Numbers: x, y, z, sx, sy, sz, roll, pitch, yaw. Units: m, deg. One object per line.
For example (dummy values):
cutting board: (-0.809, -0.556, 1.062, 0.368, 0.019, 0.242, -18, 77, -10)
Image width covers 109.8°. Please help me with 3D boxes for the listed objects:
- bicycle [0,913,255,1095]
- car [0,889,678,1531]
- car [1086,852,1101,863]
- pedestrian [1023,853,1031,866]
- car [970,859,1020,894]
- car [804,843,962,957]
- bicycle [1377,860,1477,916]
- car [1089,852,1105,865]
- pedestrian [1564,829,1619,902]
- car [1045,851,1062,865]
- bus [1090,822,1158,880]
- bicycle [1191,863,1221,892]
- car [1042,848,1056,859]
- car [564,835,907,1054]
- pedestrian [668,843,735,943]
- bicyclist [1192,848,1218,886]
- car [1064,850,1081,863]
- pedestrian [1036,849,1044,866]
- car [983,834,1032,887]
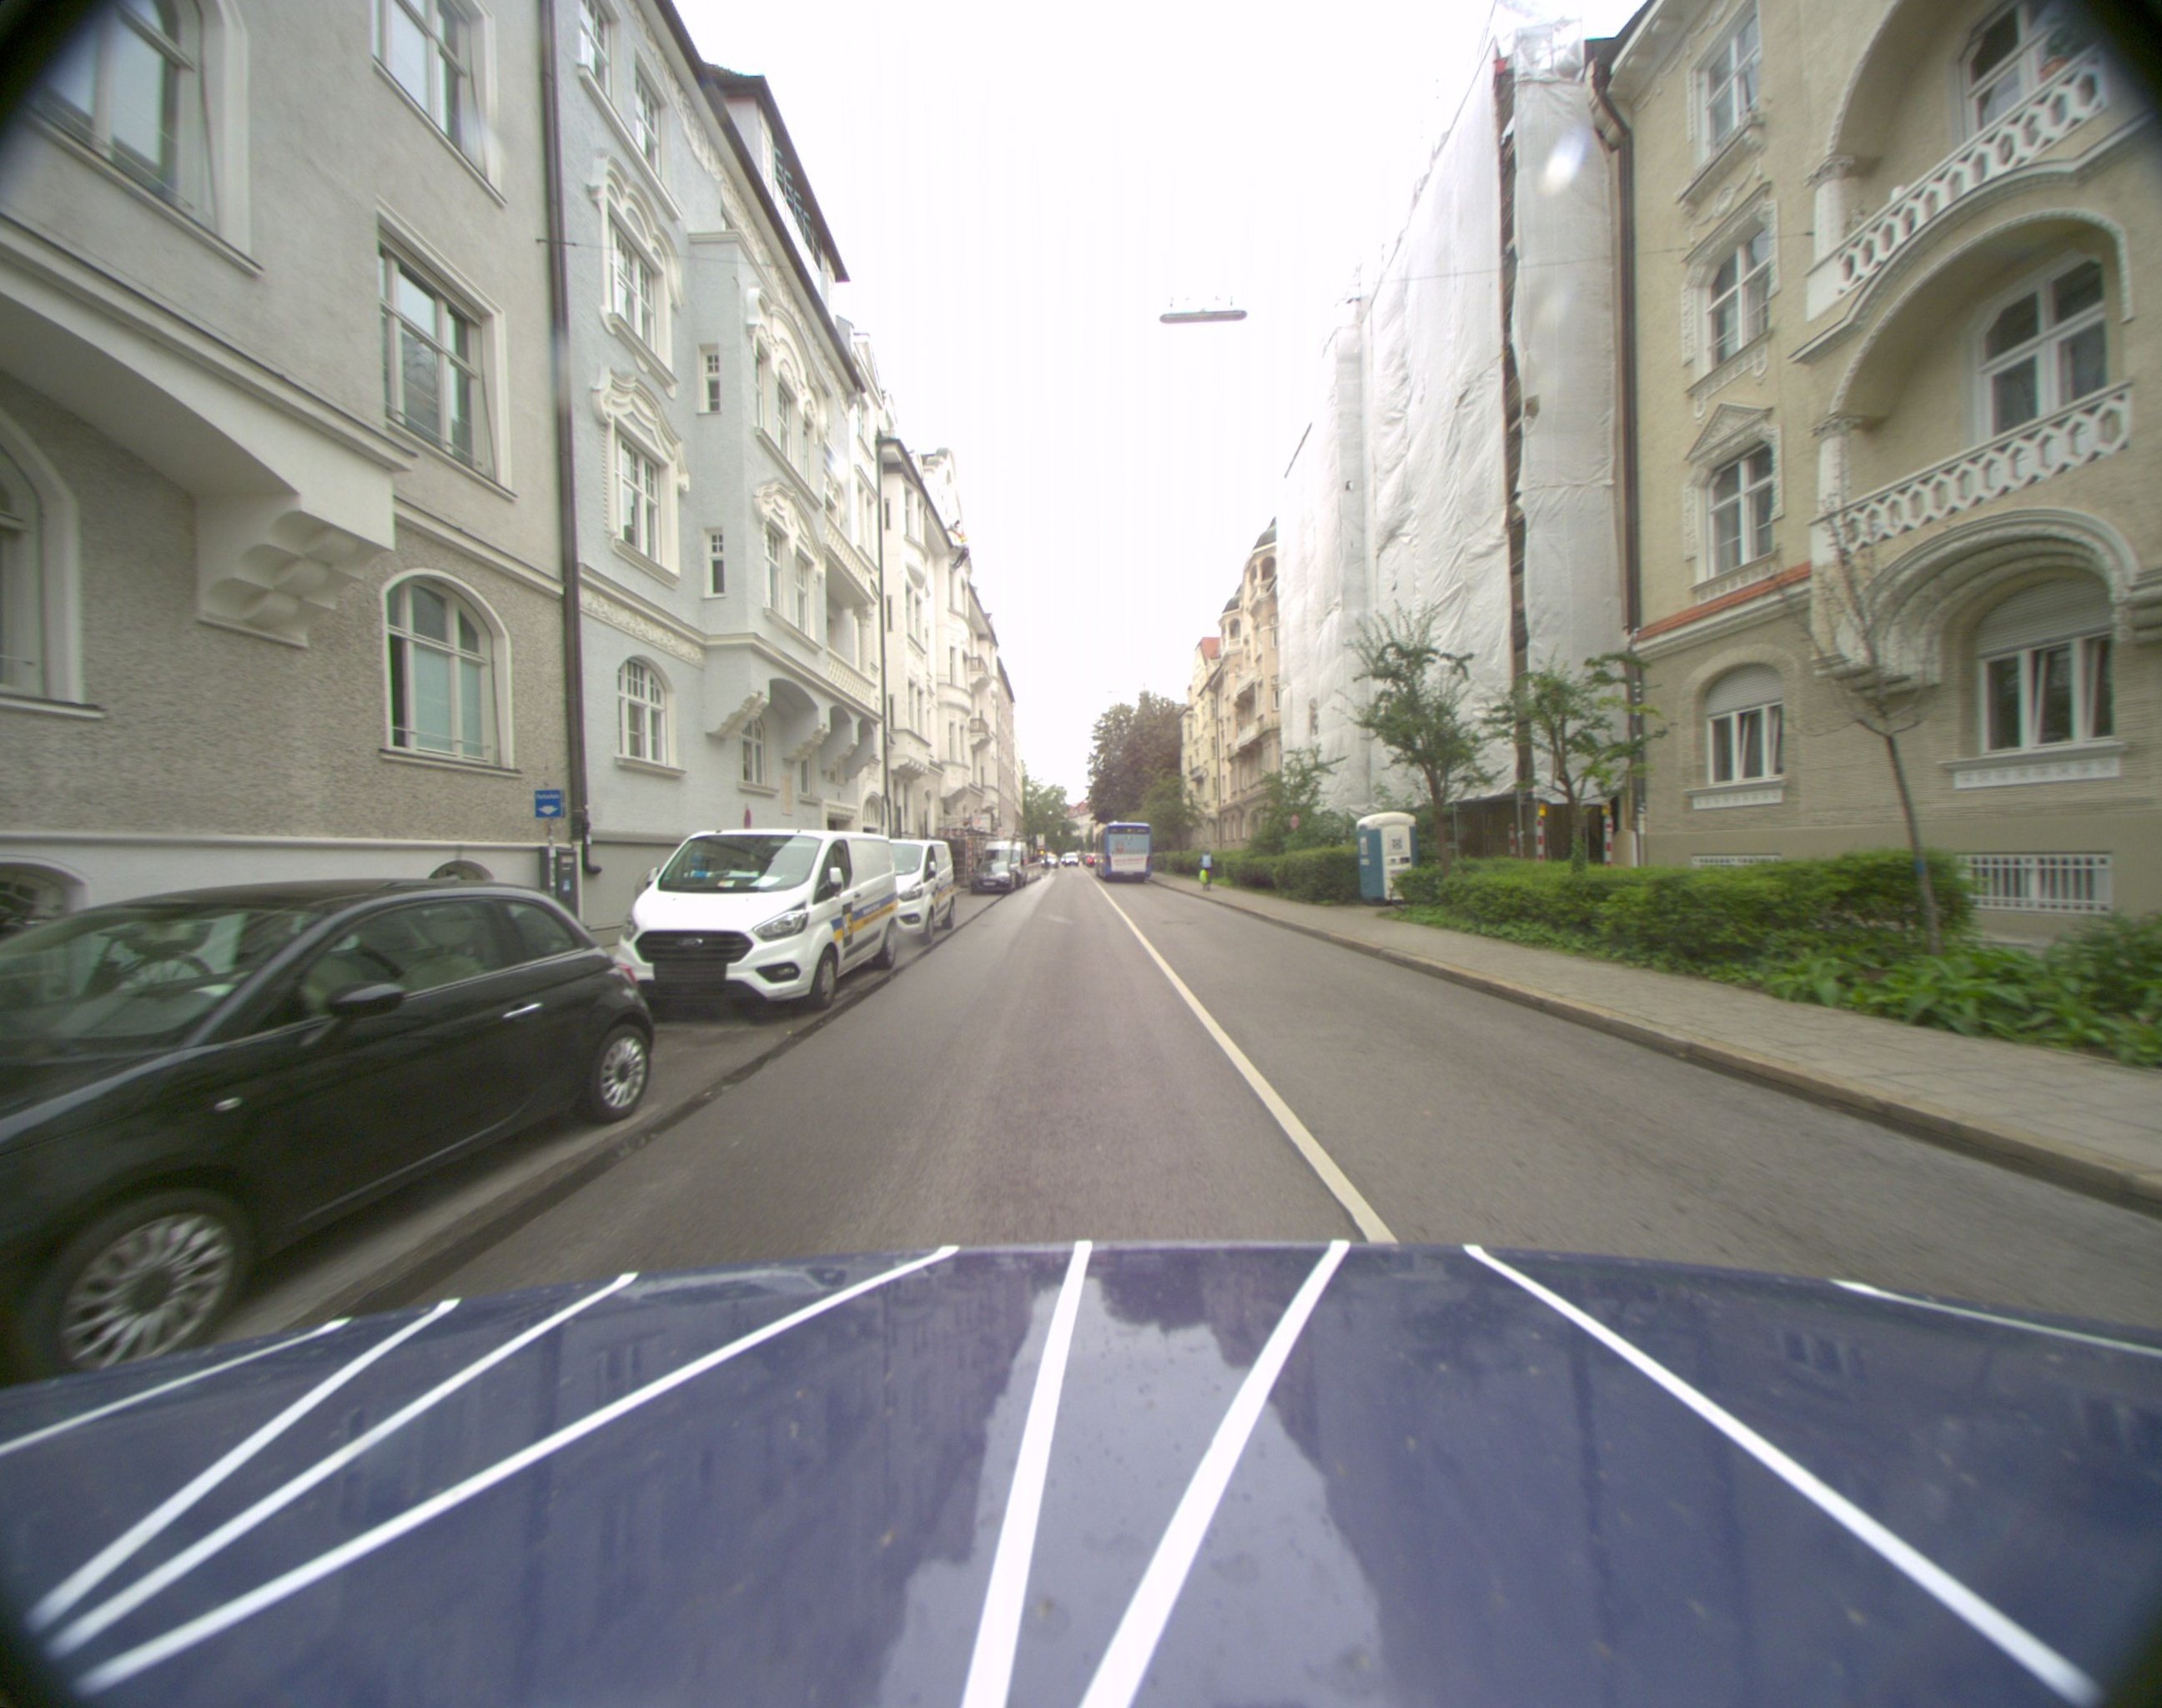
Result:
bicycle: (-7.823, 1.107, 6.001, 0.668, 1.126, 1.722, -1, 1, 1)
car: (-3.612, 1.020, 3.213, 1.637, 1.505, 3.885, -2, 0, 1)
car: (1.733, 0.410, 103.881, 1.723, 1.398, 4.001, -1, 0, 4)
pedestrian: (-6.063, 0.622, 85.526, 0.837, 1.399, 0.866, -1, 1, -4)
car: (-3.818, 0.973, 34.384, 1.792, 1.399, 4.244, -1, 0, 0)
car: (-3.758, 0.775, 15.425, 1.999, 1.907, 4.877, -1, 0, -1)
bicycle: (7.854, 0.758, 17.280, 1.864, 1.071, 0.690, -6, 1, 1)
car: (1.917, 0.502, 90.575, 1.723, 1.398, 4.001, -1, 0, 4)
pedestrian: (12.608, 0.284, 18.779, 0.771, 1.736, 0.773, -3, 1, -2)
car: (-3.375, 0.427, 93.405, 1.723, 1.622, 4.001, -1, 0, 4)
bus: (2.437, -0.218, 50.306, 3.179, 3.193, 18.054, 0, 0, -1)
bicycle: (5.058, 0.946, 30.891, 0.770, 1.075, 2.049, -3, 0, -2)
car: (-4.768, -0.085, 114.141, 1.723, 1.622, 4.001, -1, 0, 4)
car: (-3.639, 0.795, 9.246, 1.999, 1.907, 4.885, -1, 0, -2)
pedestrian: (-7.391, 0.740, 14.824, 0.853, 1.892, 0.746, -1, 1, 3)
bicyclist: (5.027, 0.527, 30.861, 0.770, 1.484, 1.060, -3, 1, -2)
car: (-1.141, 0.308, 100.683, 1.918, 1.648, 4.602, -1, 0, 3)
pedestrian: (-4.572, 0.356, 84.731, 0.826, 1.849, 0.820, -2, 1, -2)
car: (-3.828, 0.308, 40.451, 2.082, 2.673, 5.444, 0, 0, 0)
